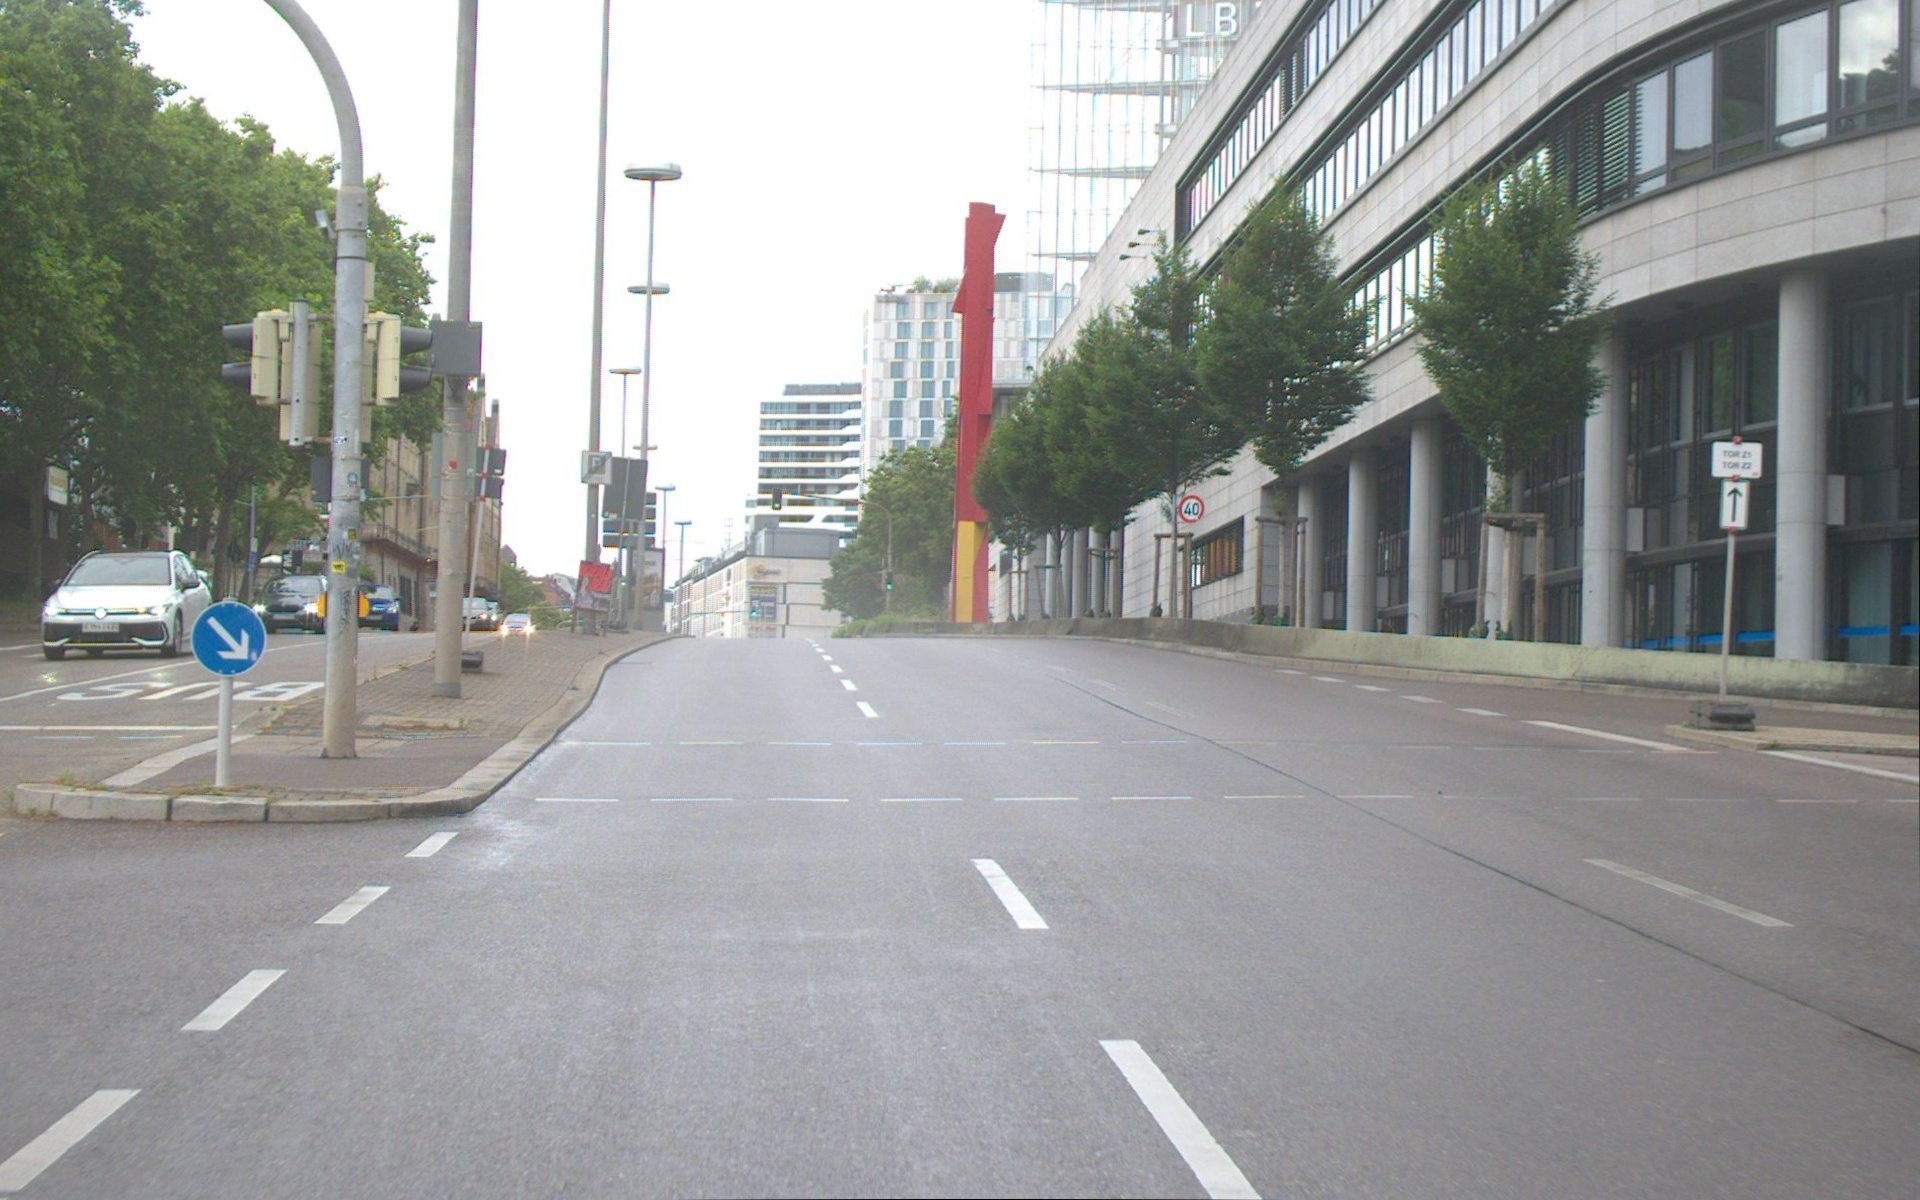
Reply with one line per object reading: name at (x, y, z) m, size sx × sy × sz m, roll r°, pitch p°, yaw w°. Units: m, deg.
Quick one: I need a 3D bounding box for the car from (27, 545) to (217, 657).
car at (-11.431, -0.021, 47.135) m, size 1.761 × 1.455 × 4.360 m, roll 0°, pitch 1°, yaw -3°

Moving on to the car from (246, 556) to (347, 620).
car at (-15.595, -0.308, 80.981) m, size 1.807 × 1.443 × 4.340 m, roll 0°, pitch 1°, yaw -4°
